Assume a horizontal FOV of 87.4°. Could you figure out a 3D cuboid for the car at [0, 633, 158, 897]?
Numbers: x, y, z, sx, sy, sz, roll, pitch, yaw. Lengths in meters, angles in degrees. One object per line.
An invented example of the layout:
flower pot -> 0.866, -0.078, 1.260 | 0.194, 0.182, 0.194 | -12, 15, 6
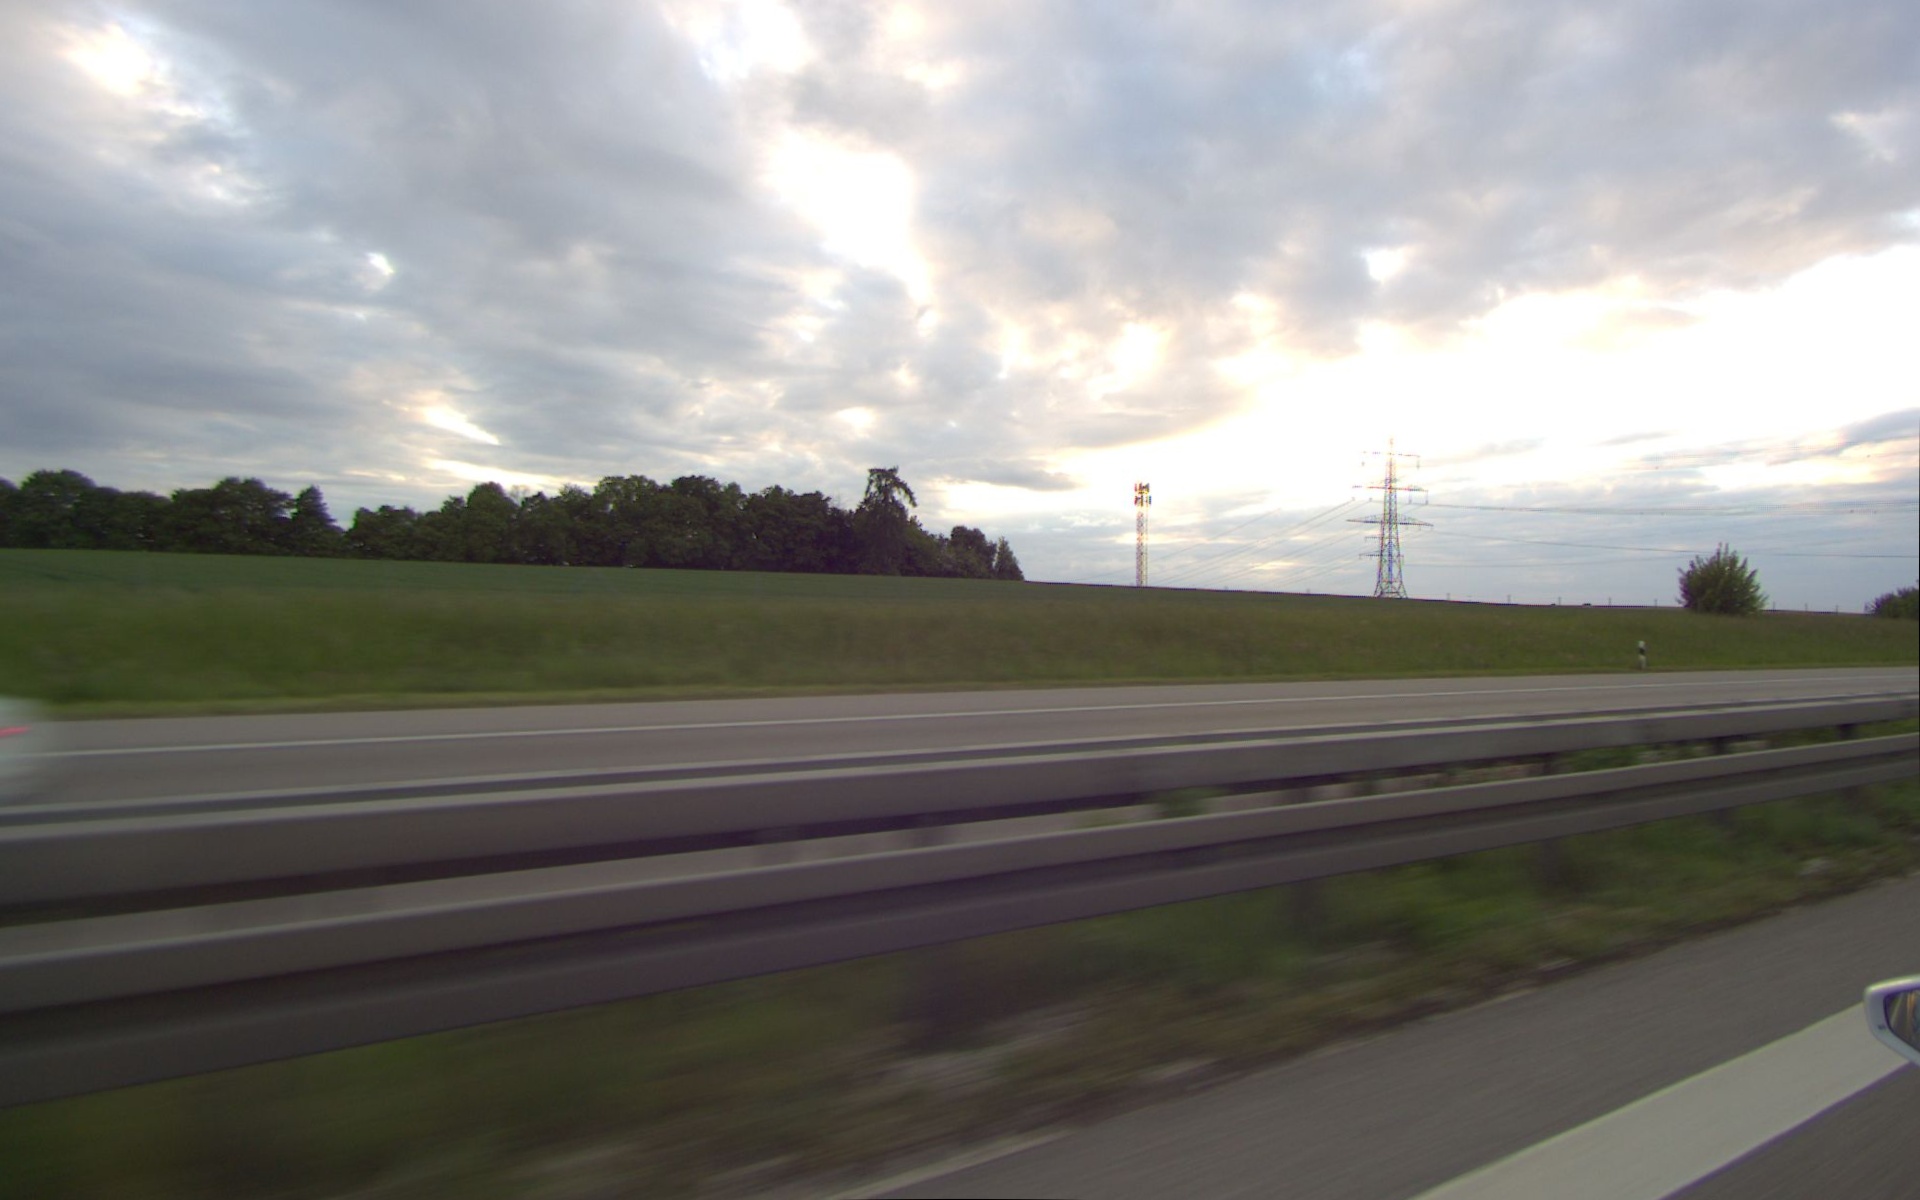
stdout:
car -> -7.845, 0.958, 5.722 | 4.874, 1.506, 1.720 | 2, 0, -31
